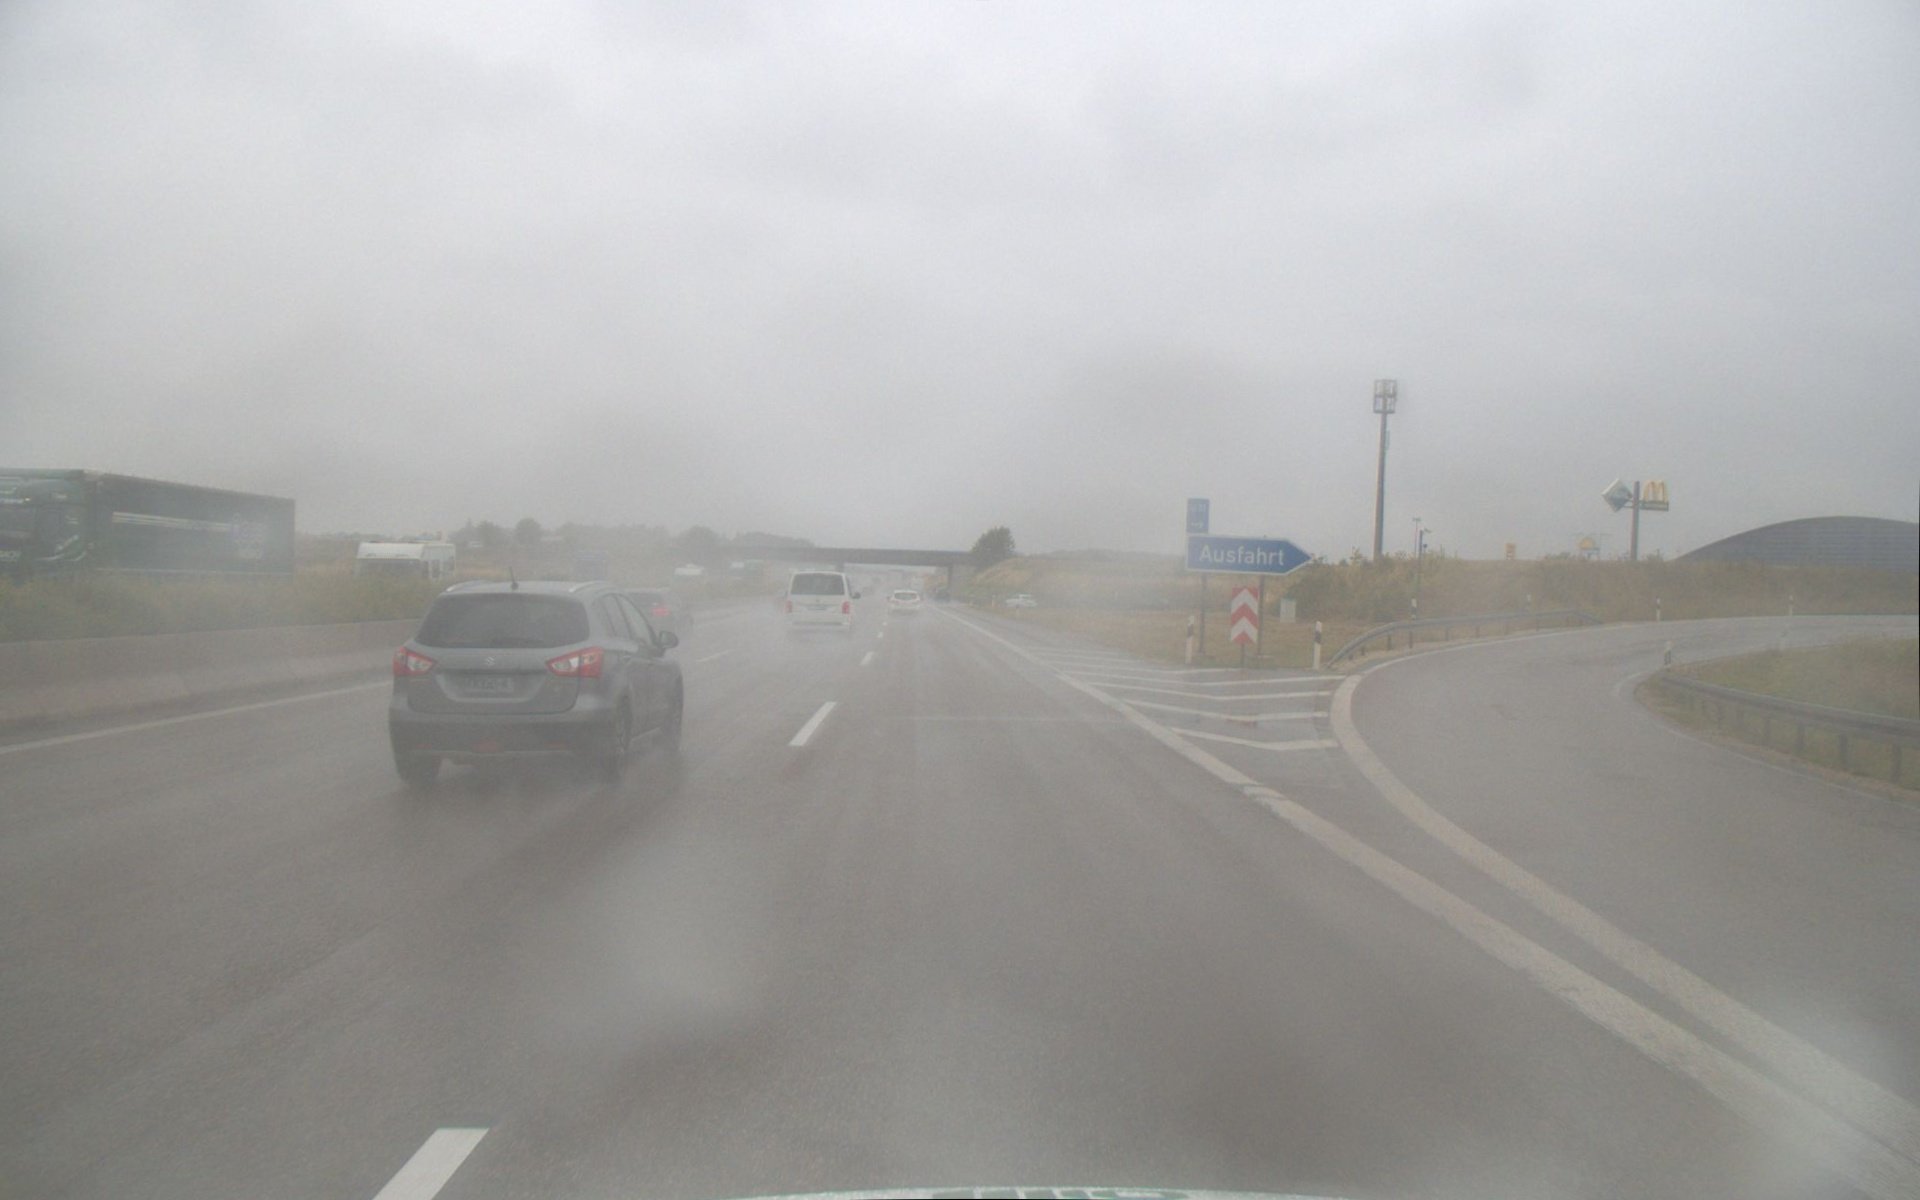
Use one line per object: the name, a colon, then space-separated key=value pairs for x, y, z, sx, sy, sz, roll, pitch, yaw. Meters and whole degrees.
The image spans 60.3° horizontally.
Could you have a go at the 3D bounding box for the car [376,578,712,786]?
car: x=-3.479 y=0.604 z=14.809 sx=1.808 sy=1.539 sz=4.756 roll=1 pitch=0 yaw=0

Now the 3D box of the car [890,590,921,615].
car: x=-2.774 y=0.120 z=84.811 sx=1.438 sy=1.229 sz=2.991 roll=1 pitch=0 yaw=0

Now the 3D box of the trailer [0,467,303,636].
trailer: x=-22.711 y=-1.211 z=47.528 sx=2.179 sy=4.067 sz=14.203 roll=1 pitch=0 yaw=-1

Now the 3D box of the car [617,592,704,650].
car: x=-7.576 y=0.507 z=42.171 sx=1.580 sy=1.378 sz=3.999 roll=1 pitch=0 yaw=-2

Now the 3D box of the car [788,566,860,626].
car: x=-3.864 y=-0.104 z=47.445 sx=1.859 sy=1.613 sz=3.998 roll=1 pitch=0 yaw=-3

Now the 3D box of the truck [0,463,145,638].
truck: x=-22.571 y=-1.178 z=40.974 sx=2.168 sy=4.053 sz=5.183 roll=1 pitch=0 yaw=-1

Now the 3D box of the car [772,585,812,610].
car: x=-8.996 y=-0.113 z=88.620 sx=1.436 sy=1.279 sz=3.342 roll=1 pitch=0 yaw=7

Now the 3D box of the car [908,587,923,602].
car: x=-6.579 y=-0.848 z=243.808 sx=1.955 sy=2.138 sz=3.996 roll=2 pitch=1 yaw=-5

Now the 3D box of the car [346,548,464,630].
car: x=-19.720 y=-0.386 z=59.150 sx=2.447 sy=2.753 sz=6.201 roll=1 pitch=0 yaw=-4
